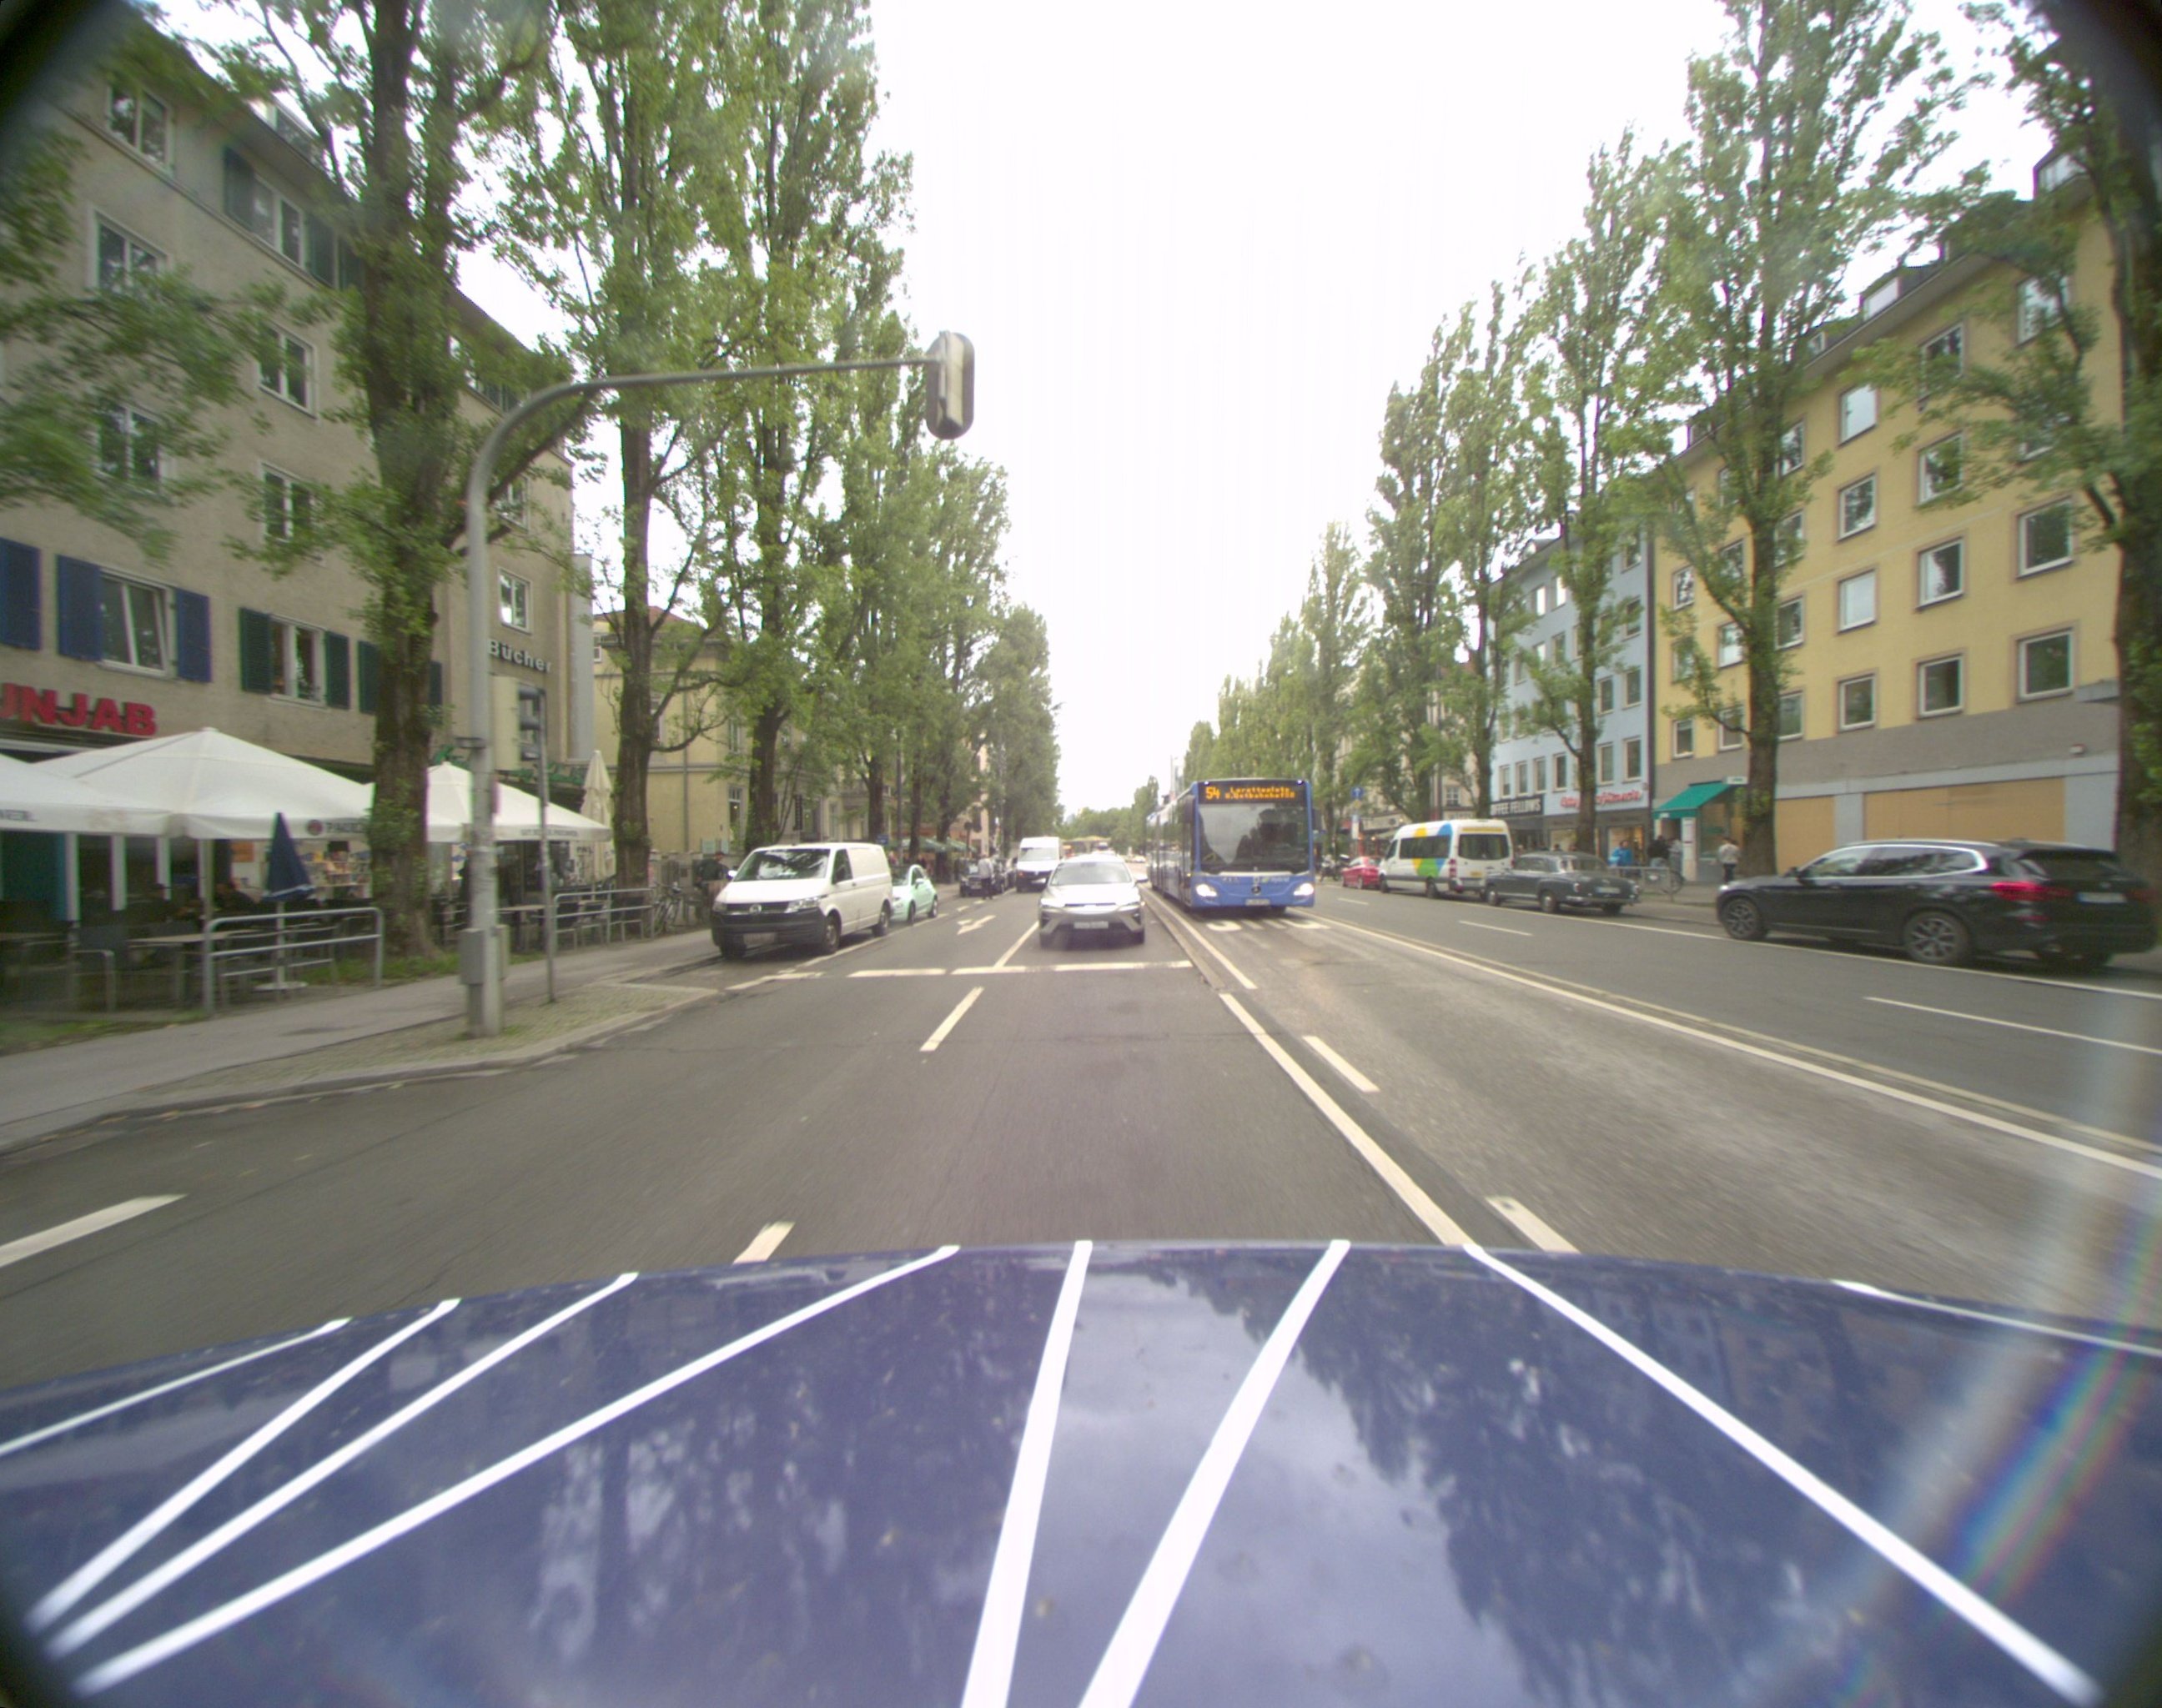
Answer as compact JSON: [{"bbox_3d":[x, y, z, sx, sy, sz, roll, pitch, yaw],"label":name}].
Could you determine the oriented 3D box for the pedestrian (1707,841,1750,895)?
[{"bbox_3d":[19.985,0.421,23.472,0.723,1.641,0.712,-1,1,2],"label":"pedestrian"}]

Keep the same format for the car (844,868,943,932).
[{"bbox_3d":[-4.642,1.087,19.264,1.475,1.389,3.483,-1,0,3],"label":"car"}]

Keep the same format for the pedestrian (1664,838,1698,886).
[{"bbox_3d":[21.443,0.286,27.165,0.640,1.694,0.724,-1,1,2],"label":"pedestrian"}]

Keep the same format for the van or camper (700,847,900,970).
[{"bbox_3d":[-4.961,0.854,14.210,1.795,1.894,4.566,-1,0,3],"label":"van or camper"}]

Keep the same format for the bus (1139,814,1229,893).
[{"bbox_3d":[4.313,-0.051,34.525,2.806,2.886,12.859,-1,0,2],"label":"bus"}]

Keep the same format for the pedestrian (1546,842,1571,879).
[{"bbox_3d":[21.651,0.303,34.462,0.723,1.641,0.678,-1,1,2],"label":"pedestrian"}]

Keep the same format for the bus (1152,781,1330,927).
[{"bbox_3d":[3.808,-0.021,21.622,2.806,2.886,12.859,-1,0,2],"label":"bus"}]

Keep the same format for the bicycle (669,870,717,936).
[{"bbox_3d":[-9.144,1.101,18.003,0.829,1.403,2.595,-2,0,-24],"label":"bicycle"}]

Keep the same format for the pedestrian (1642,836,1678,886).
[{"bbox_3d":[20.695,0.249,27.146,0.732,1.755,0.724,-1,1,1],"label":"pedestrian"}]

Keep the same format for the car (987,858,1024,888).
[{"bbox_3d":[-4.089,0.997,41.522,1.475,1.518,3.603,-1,0,3],"label":"car"}]

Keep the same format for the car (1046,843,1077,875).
[{"bbox_3d":[-1.429,0.378,57.870,2.024,2.235,4.411,-2,0,1],"label":"car"}]

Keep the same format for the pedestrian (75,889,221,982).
[{"bbox_3d":[-13.277,1.136,10.853,0.775,1.209,1.023,-2,0,5],"label":"pedestrian"}]

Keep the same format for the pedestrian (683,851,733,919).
[{"bbox_3d":[-9.948,0.812,20.264,0.941,1.756,0.837,-1,1,39],"label":"pedestrian"}]

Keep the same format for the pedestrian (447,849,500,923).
[{"bbox_3d":[-14.355,0.736,17.972,0.629,1.709,0.681,-2,1,2],"label":"pedestrian"}]

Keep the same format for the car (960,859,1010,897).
[{"bbox_3d":[-4.090,0.994,32.769,1.475,1.518,3.603,-1,0,3],"label":"car"}]

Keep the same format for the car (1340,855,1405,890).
[{"bbox_3d":[12.697,0.787,33.293,1.559,1.403,3.761,-1,0,3],"label":"car"}]

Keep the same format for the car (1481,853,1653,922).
[{"bbox_3d":[12.243,0.770,19.531,1.707,1.520,4.260,0,1,0],"label":"car"}]

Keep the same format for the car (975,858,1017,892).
[{"bbox_3d":[-4.067,0.981,36.797,1.475,1.518,3.603,-1,0,3],"label":"car"}]

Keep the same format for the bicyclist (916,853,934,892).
[{"bbox_3d":[-6.667,0.778,32.405,0.584,1.668,0.819,-1,1,-1],"label":"bicyclist"}]

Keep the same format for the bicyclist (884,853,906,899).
[{"bbox_3d":[-6.929,0.807,28.310,0.568,1.641,0.661,-2,1,-1],"label":"bicyclist"}]

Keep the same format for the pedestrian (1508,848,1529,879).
[{"bbox_3d":[20.577,0.436,35.731,0.649,1.430,0.551,-1,1,-3],"label":"pedestrian"}]

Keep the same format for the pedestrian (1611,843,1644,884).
[{"bbox_3d":[19.633,0.330,27.308,0.768,1.430,0.551,-1,1,-3],"label":"pedestrian"}]

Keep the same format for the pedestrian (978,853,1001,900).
[{"bbox_3d":[-3.518,0.844,29.044,0.791,1.747,0.769,-2,1,-9],"label":"pedestrian"}]

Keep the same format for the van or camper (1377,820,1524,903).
[{"bbox_3d":[12.554,0.225,26.508,2.130,2.536,6.644,0,0,2],"label":"van or camper"}]

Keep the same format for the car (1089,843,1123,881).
[{"bbox_3d":[1.623,0.474,49.064,2.024,2.235,4.411,-2,0,1],"label":"car"}]

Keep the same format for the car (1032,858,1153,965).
[{"bbox_3d":[0.226,0.867,13.274,1.758,1.529,3.917,-2,0,1],"label":"car"}]

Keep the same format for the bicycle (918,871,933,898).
[{"bbox_3d":[-6.630,1.283,32.336,0.339,1.087,1.374,-1,0,0],"label":"bicycle"}]

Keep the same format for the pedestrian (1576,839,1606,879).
[{"bbox_3d":[18.426,0.188,27.455,0.610,1.430,0.678,-1,1,-9],"label":"pedestrian"}]

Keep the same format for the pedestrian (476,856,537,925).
[{"bbox_3d":[-13.606,0.846,18.009,0.696,1.568,0.874,-2,1,3],"label":"pedestrian"}]

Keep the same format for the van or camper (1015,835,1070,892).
[{"bbox_3d":[-1.736,0.428,36.657,1.998,2.470,6.644,-1,0,2],"label":"van or camper"}]

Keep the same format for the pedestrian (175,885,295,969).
[{"bbox_3d":[-13.255,1.123,11.936,0.667,1.209,1.023,-2,0,6],"label":"pedestrian"}]

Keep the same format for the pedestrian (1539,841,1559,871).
[{"bbox_3d":[22.679,0.093,36.814,0.609,1.430,0.551,-1,1,-3],"label":"pedestrian"}]

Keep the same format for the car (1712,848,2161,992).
[{"bbox_3d":[11.747,0.735,10.906,1.707,1.623,4.503,0,1,2],"label":"car"}]

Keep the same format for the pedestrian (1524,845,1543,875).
[{"bbox_3d":[21.946,0.276,36.864,0.609,1.430,0.551,-1,1,3],"label":"pedestrian"}]

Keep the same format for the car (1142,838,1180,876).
[{"bbox_3d":[5.115,0.183,49.006,2.024,2.235,4.411,-2,0,1],"label":"car"}]

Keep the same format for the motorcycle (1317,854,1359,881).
[{"bbox_3d":[13.400,0.694,39.645,2.023,1.413,0.570,-1,1,-5],"label":"motorcycle"}]
